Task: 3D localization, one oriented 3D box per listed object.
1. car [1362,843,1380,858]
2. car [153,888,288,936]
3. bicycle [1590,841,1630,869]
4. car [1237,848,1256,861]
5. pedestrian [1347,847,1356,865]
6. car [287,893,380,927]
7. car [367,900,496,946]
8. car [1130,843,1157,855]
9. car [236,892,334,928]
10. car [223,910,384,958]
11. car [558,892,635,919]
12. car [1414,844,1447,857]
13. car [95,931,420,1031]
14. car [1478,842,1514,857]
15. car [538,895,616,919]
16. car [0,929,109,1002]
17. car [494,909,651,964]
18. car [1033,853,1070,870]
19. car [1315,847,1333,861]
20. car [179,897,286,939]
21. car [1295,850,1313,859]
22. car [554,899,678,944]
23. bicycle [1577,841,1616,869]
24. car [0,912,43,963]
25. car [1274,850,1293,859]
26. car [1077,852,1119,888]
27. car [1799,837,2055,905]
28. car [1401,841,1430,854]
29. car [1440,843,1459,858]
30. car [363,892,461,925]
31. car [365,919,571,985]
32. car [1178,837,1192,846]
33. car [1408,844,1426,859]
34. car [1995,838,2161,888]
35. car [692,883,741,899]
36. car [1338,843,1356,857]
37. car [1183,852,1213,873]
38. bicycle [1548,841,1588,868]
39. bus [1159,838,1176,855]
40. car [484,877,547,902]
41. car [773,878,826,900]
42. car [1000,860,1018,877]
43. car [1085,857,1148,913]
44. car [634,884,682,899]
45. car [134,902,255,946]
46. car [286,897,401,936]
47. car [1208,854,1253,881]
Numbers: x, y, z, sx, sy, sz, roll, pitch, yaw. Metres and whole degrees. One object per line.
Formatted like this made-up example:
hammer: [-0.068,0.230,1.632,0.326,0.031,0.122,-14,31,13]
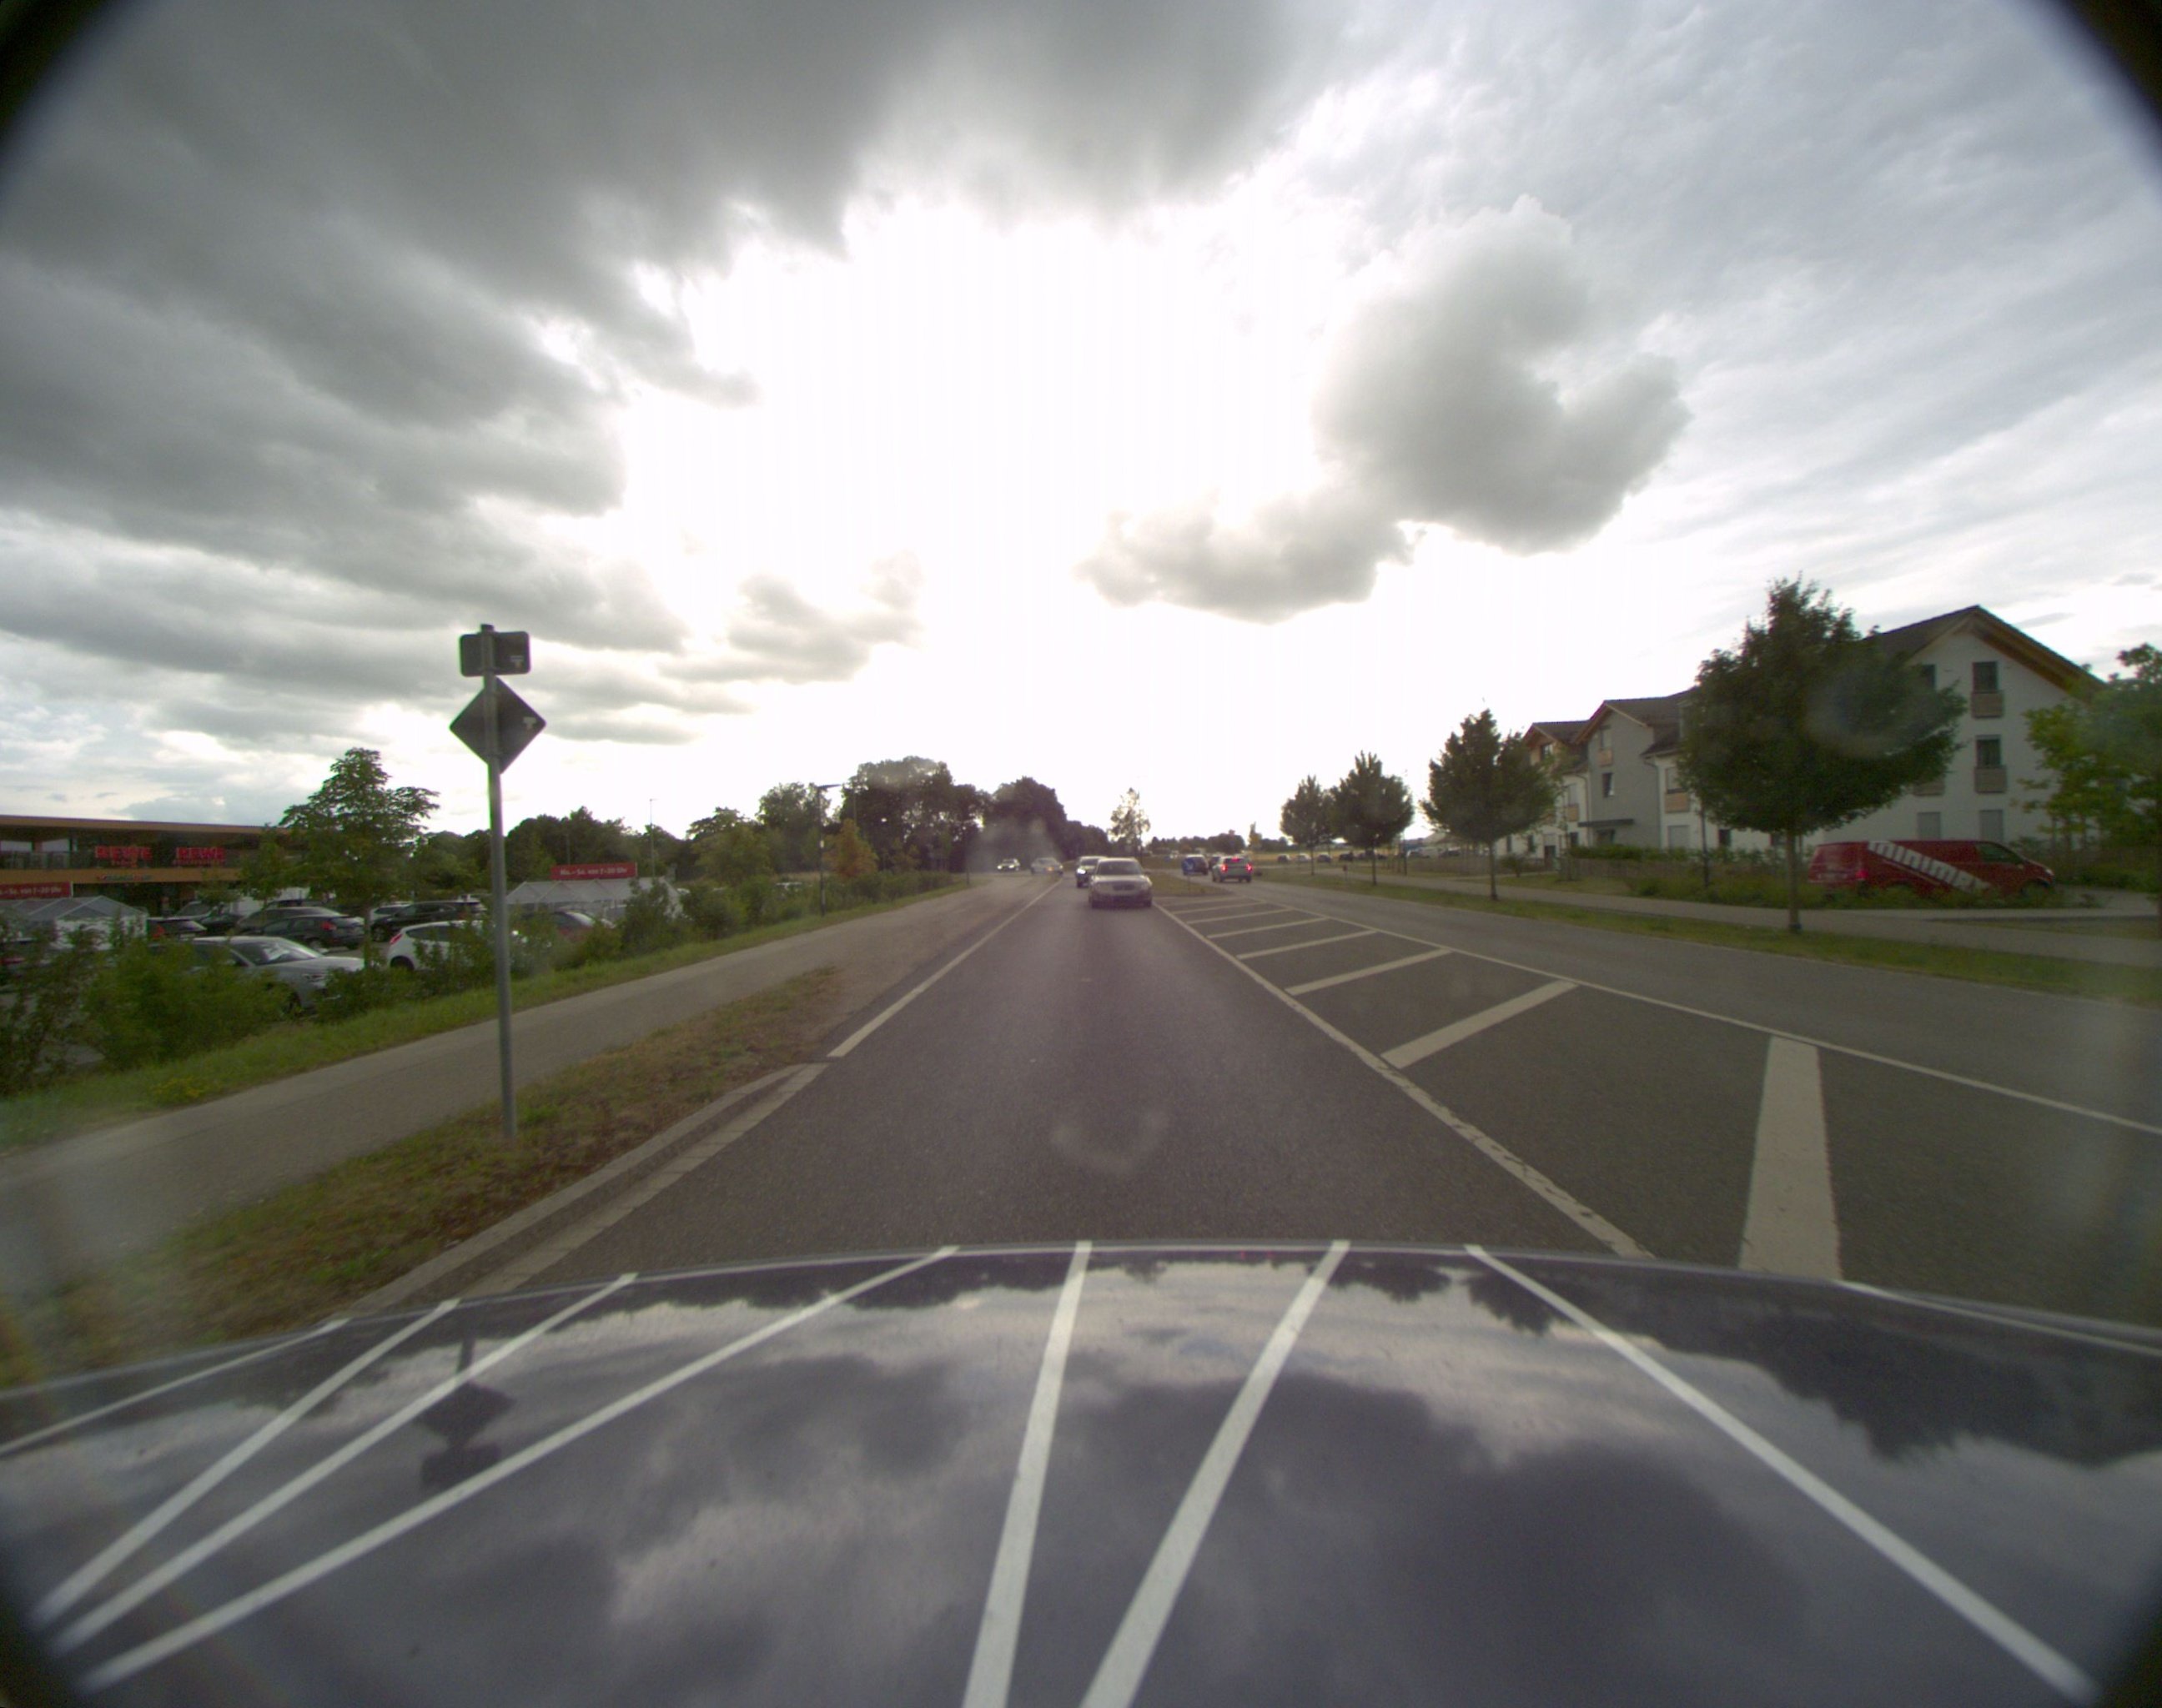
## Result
car: [40.990,-0.469,107.428,1.996,2.002,4.005,-1,0,16]
car: [-38.418,2.566,33.994,3.995,2.002,2.001,-1,0,5]
bicycle: [28.067,0.042,40.348,0.684,1.420,2.094,-1,0,1]
car: [19.541,0.050,90.007,1.829,1.480,4.218,-1,0,7]
pedestrian: [23.627,0.150,66.383,0.547,1.521,0.586,-3,0,1]
car: [-47.462,3.525,48.292,3.995,2.002,2.072,-1,0,5]
car: [-29.473,3.115,34.554,4.269,1.860,2.001,-1,0,5]
car: [8.953,-0.660,109.396,1.994,1.674,4.008,-1,0,38]
car: [-48.120,3.354,45.984,3.995,2.002,2.001,-1,0,5]
car: [-29.444,3.024,28.874,3.997,1.433,2.000,-3,0,0]
car: [-29.491,3.110,46.312,3.558,1.524,1.753,-1,0,0]
car: [53.009,-0.550,115.236,4.000,2.002,1.999,-1,0,-8]
car: [-16.234,2.472,15.195,4.157,1.588,2.080,-1,0,-1]
car: [57.450,-0.631,105.289,4.001,2.002,1.998,-1,0,-11]
car: [-35.047,3.693,52.904,4.127,1.476,2.001,-1,0,5]
car: [-28.692,2.891,19.864,3.997,1.608,2.000,-1,0,1]
car: [-15.944,2.565,23.956,3.766,1.529,1.676,-1,0,-1]
car: [-2.816,0.725,71.852,2.003,1.510,3.762,-1,0,-29]
car: [35.489,0.036,110.859,1.995,2.002,4.007,-1,0,26]
car: [-48.533,3.658,43.519,3.995,2.002,2.001,-4,0,5]
car: [32.812,0.121,111.847,1.995,1.280,4.007,-1,0,26]
car: [-18.043,2.606,29.612,3.766,1.529,1.676,-1,0,-1]
bicycle: [27.324,0.054,40.334,0.684,1.409,2.094,-1,0,1]
car: [-47.354,3.526,31.756,5.142,2.002,2.000,-1,0,0]
car: [30.175,0.104,113.360,1.995,1.280,4.007,-1,0,26]
car: [0.918,0.751,38.226,1.869,1.578,5.063,-2,0,3]
car: [24.077,0.482,21.809,4.915,1.805,1.907,-1,0,6]
car: [53.976,-1.107,122.625,4.001,2.002,1.998,-1,0,-11]
car: [50.855,-0.428,104.815,2.226,2.002,4.008,-1,0,29]
car: [-40.379,3.274,45.907,4.269,1.860,2.001,-1,0,5]
car: [-16.506,2.620,20.605,4.157,1.529,1.676,-1,0,-1]
car: [16.232,-1.930,118.622,1.774,1.435,4.000,-1,0,1]
car: [47.508,-0.380,107.306,1.995,2.002,4.008,-1,0,29]
car: [33.342,0.273,24.887,1.998,1.499,4.000,-1,0,1]
car: [-35.088,3.565,73.221,1.697,1.352,4.008,-1,0,28]
car: [38.222,-0.567,108.999,1.995,2.002,4.007,-1,0,26]
car: [9.182,0.668,60.032,1.830,1.573,4.216,0,0,1]
bicycle: [26.042,0.047,40.694,0.684,1.404,2.344,-1,0,1]
bus: [17.854,-1.505,157.304,2.991,3.261,6.485,-1,0,1]
car: [-47.584,2.999,64.014,3.994,2.002,2.001,-1,0,9]
car: [-24.742,3.033,66.908,1.697,1.707,4.251,-1,0,28]
car: [-8.136,1.568,85.663,2.000,1.827,3.998,-1,0,-6]
car: [1.120,0.859,22.979,1.700,1.458,4.001,-1,1,4]
car: [-43.102,3.771,77.491,1.697,1.352,4.008,-1,0,28]
car: [-44.748,3.515,38.417,3.995,2.002,2.001,-1,0,5]
car: [-38.457,3.233,39.671,4.269,1.860,2.001,-1,0,5]
car: [8.324,0.721,42.585,1.774,1.435,4.000,-1,0,1]
